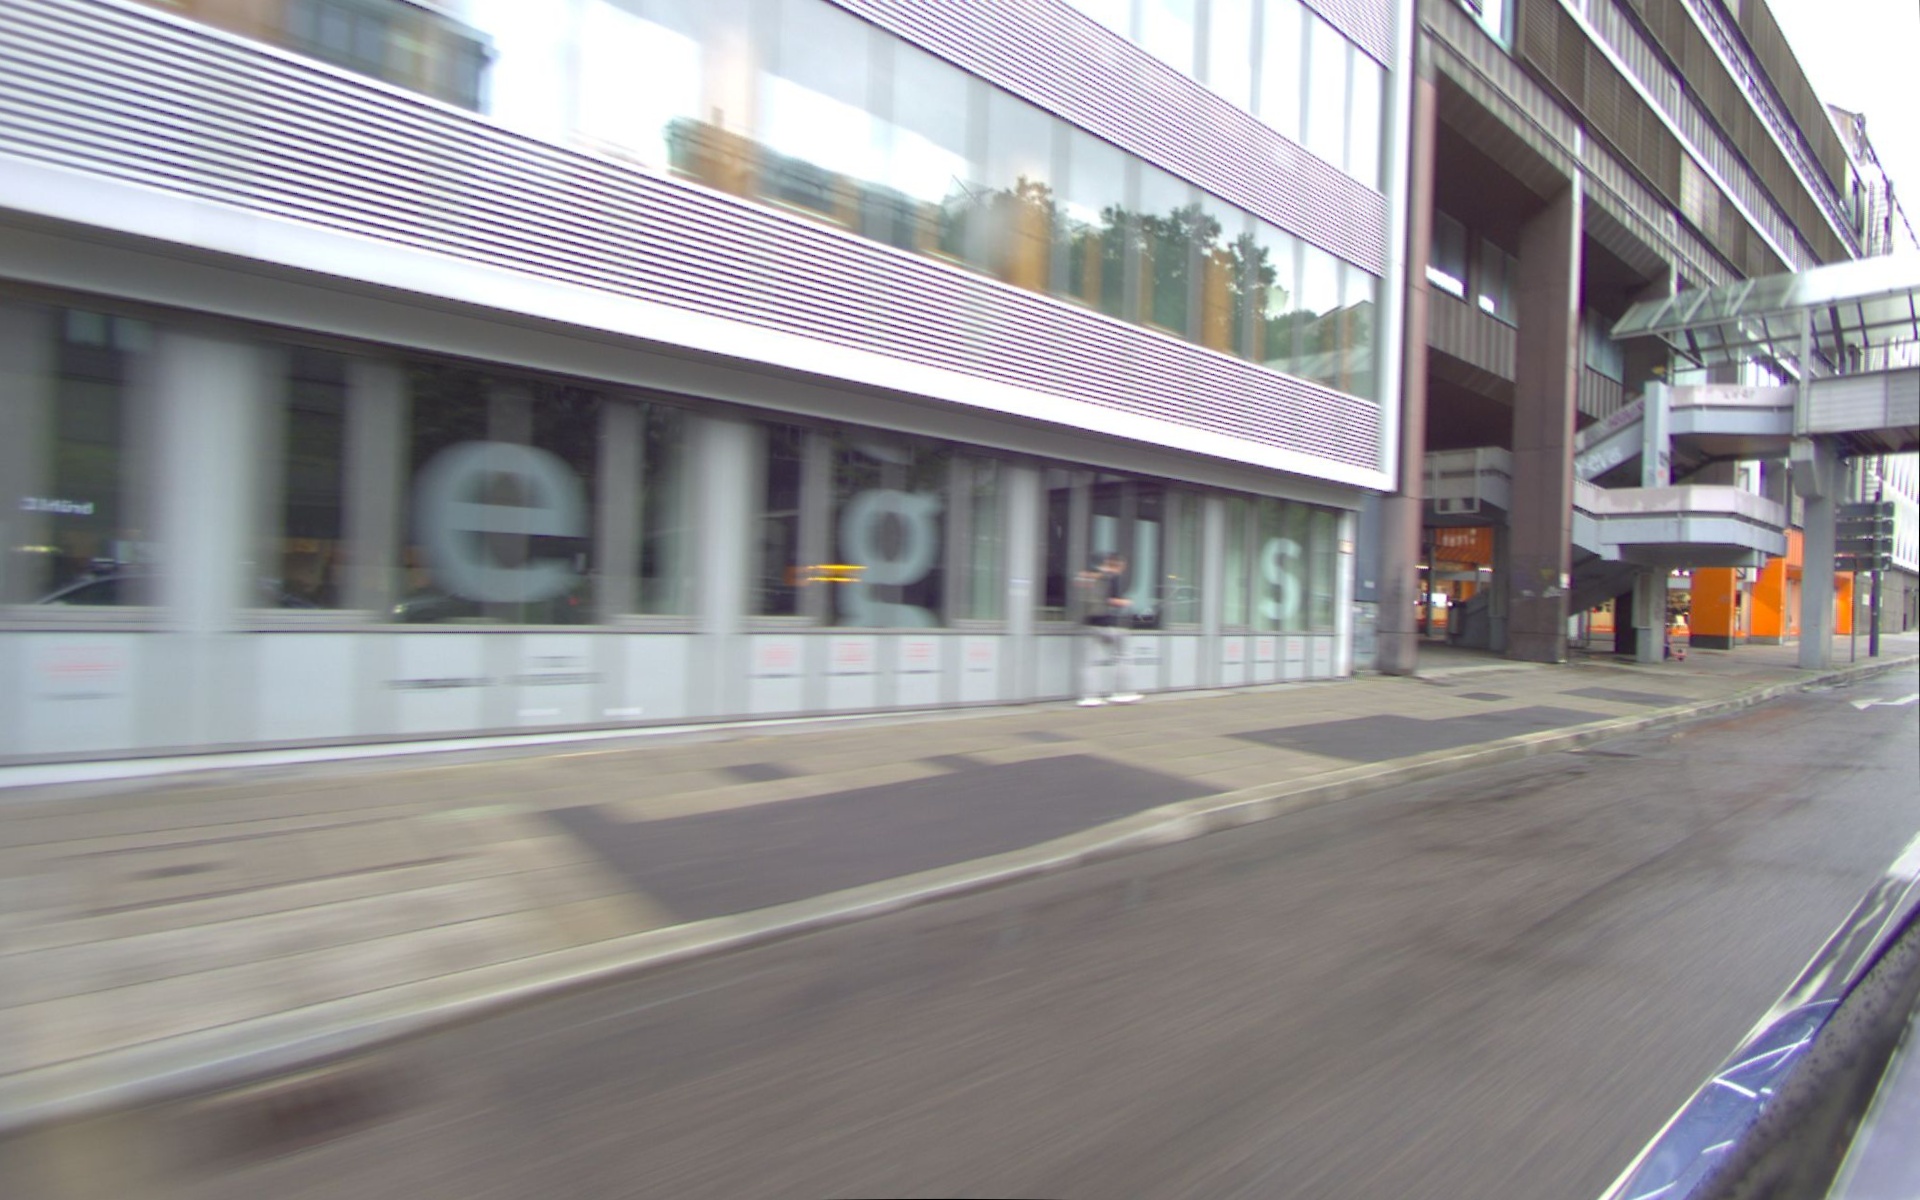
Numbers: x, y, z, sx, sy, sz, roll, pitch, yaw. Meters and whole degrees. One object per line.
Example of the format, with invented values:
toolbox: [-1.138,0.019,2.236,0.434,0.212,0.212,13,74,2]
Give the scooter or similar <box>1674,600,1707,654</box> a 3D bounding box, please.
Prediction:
scooter or similar: [17.730,0.634,24.563,1.370,1.271,0.350,0,0,-41]

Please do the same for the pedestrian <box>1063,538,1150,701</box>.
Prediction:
pedestrian: [1.688,0.204,11.677,0.776,1.794,0.636,0,1,-40]
